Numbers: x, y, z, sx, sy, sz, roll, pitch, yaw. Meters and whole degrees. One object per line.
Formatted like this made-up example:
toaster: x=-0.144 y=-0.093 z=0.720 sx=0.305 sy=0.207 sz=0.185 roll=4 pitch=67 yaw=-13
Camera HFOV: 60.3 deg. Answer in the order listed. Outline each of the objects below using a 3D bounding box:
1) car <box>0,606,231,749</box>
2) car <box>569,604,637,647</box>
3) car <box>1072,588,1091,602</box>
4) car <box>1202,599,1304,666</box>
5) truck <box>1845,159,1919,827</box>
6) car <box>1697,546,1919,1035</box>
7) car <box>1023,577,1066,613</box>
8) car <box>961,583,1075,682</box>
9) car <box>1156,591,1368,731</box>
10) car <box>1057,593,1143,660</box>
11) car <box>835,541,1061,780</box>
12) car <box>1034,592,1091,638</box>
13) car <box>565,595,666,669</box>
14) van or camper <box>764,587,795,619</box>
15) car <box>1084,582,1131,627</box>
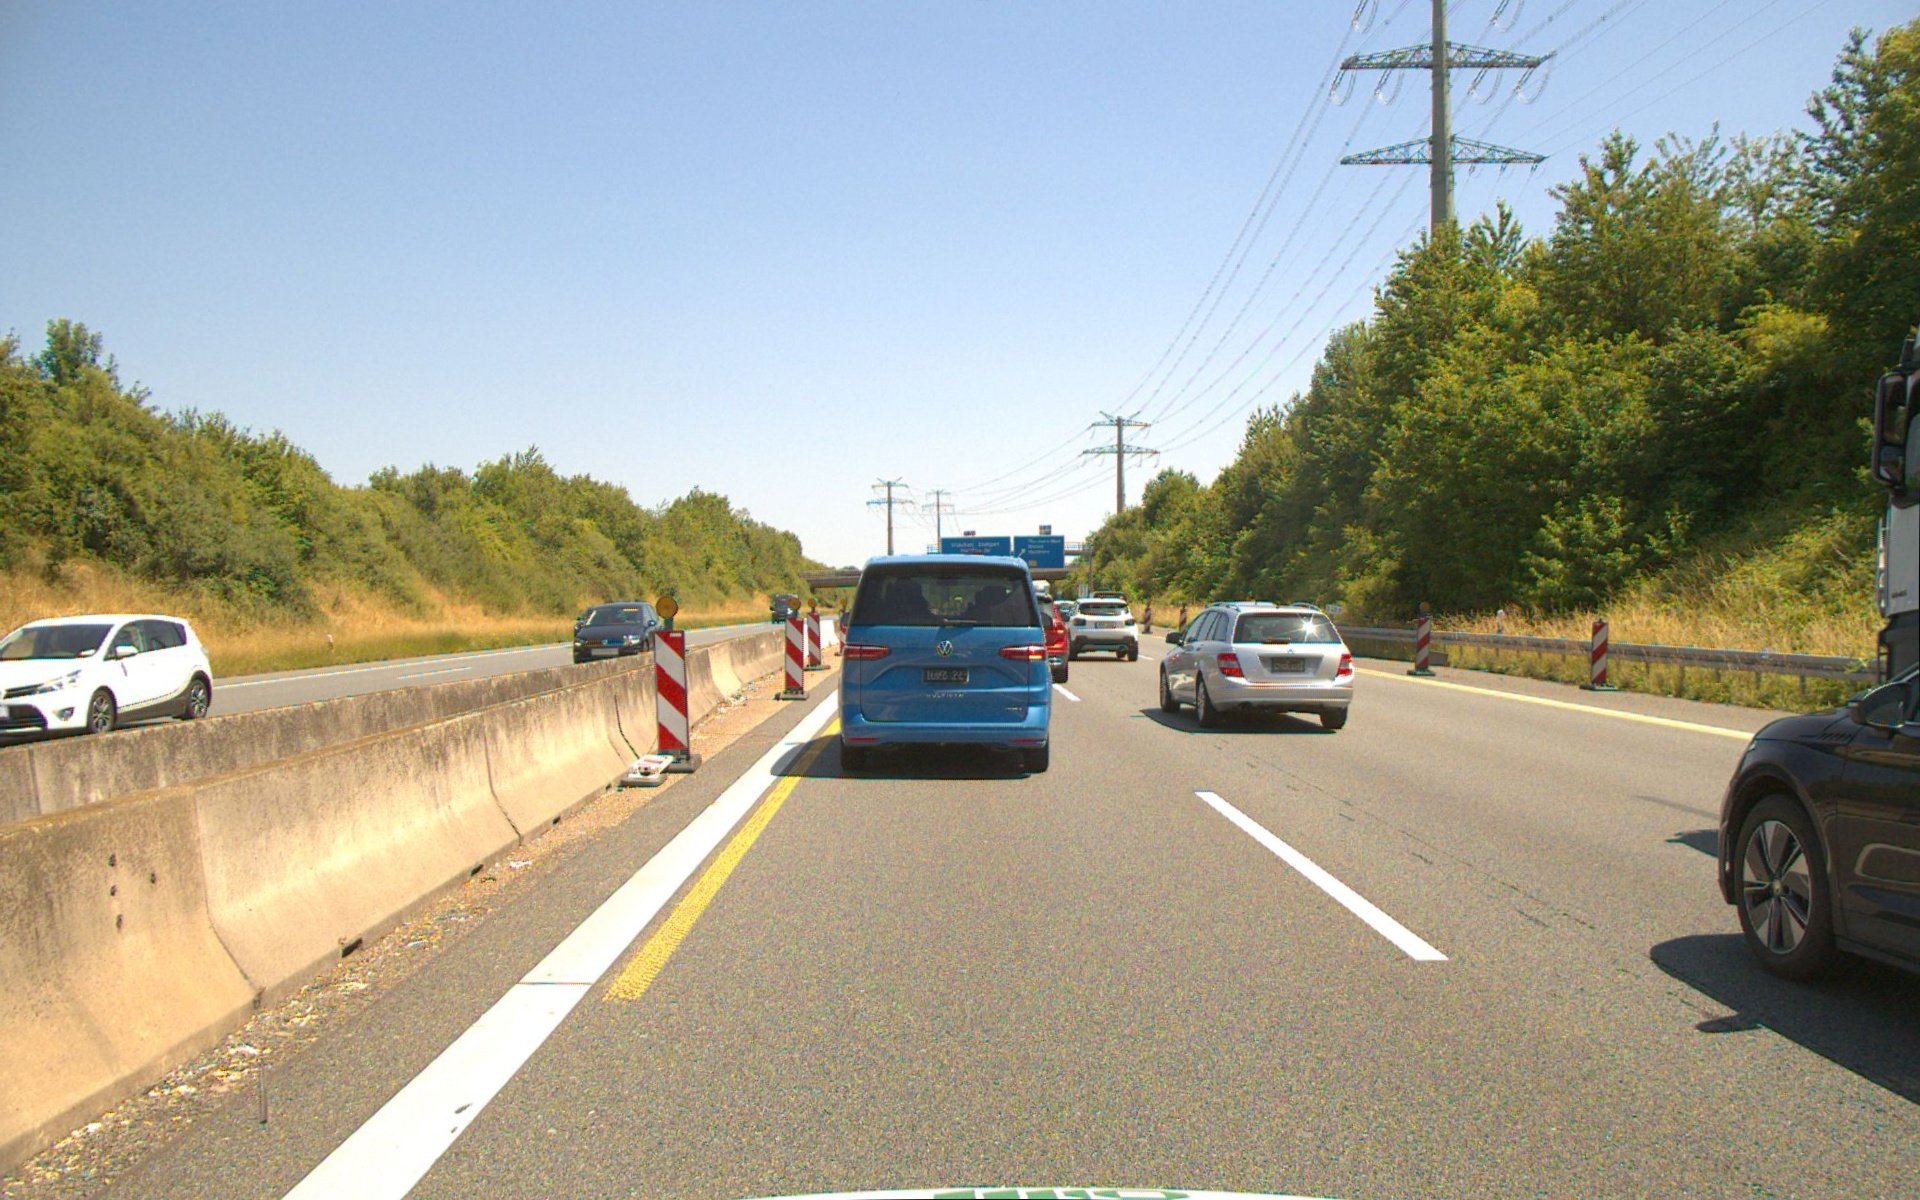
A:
car: x=-11.740 y=0.964 z=22.316 sx=1.953 sy=1.691 sz=4.228 roll=-1 pitch=0 yaw=-1
car: x=-15.544 y=1.076 z=72.249 sx=1.953 sy=1.678 sz=4.629 roll=-3 pitch=0 yaw=-1
car: x=15.007 y=-0.571 z=204.723 sx=1.837 sy=1.700 sz=4.358 roll=1 pitch=0 yaw=-2
car: x=6.879 y=0.737 z=39.176 sx=1.666 sy=1.473 sz=3.787 roll=1 pitch=0 yaw=-1
truck: x=7.269 y=-0.653 z=8.098 sx=2.677 sy=4.118 sz=5.792 roll=1 pitch=0 yaw=-1
car: x=4.166 y=0.668 z=5.130 sx=1.666 sy=1.684 sz=4.428 roll=1 pitch=0 yaw=-2
car: x=4.008 y=-0.234 z=78.722 sx=1.761 sy=1.622 sz=4.226 roll=1 pitch=0 yaw=-1
car: x=1.022 y=0.574 z=31.054 sx=1.837 sy=1.700 sz=4.358 roll=1 pitch=0 yaw=-2
car: x=3.652 y=0.689 z=20.751 sx=1.735 sy=1.544 sz=4.358 roll=1 pitch=0 yaw=-2
car: x=3.548 y=0.656 z=42.506 sx=1.761 sy=1.622 sz=4.226 roll=1 pitch=0 yaw=-1
car: x=-0.157 y=0.506 z=15.849 sx=1.837 sy=1.945 sz=4.358 roll=1 pitch=0 yaw=-2
car: x=3.787 y=0.535 z=61.575 sx=1.761 sy=1.622 sz=4.226 roll=1 pitch=0 yaw=-1
car: x=-8.564 y=0.778 z=41.400 sx=1.737 sy=1.729 sz=4.169 roll=1 pitch=0 yaw=-2
van or camper: x=-16.404 y=0.256 z=150.497 sx=2.178 sy=2.758 sz=7.078 roll=-3 pitch=0 yaw=-2
car: x=6.917 y=0.203 z=77.942 sx=1.761 sy=2.049 sz=4.226 roll=1 pitch=0 yaw=0
